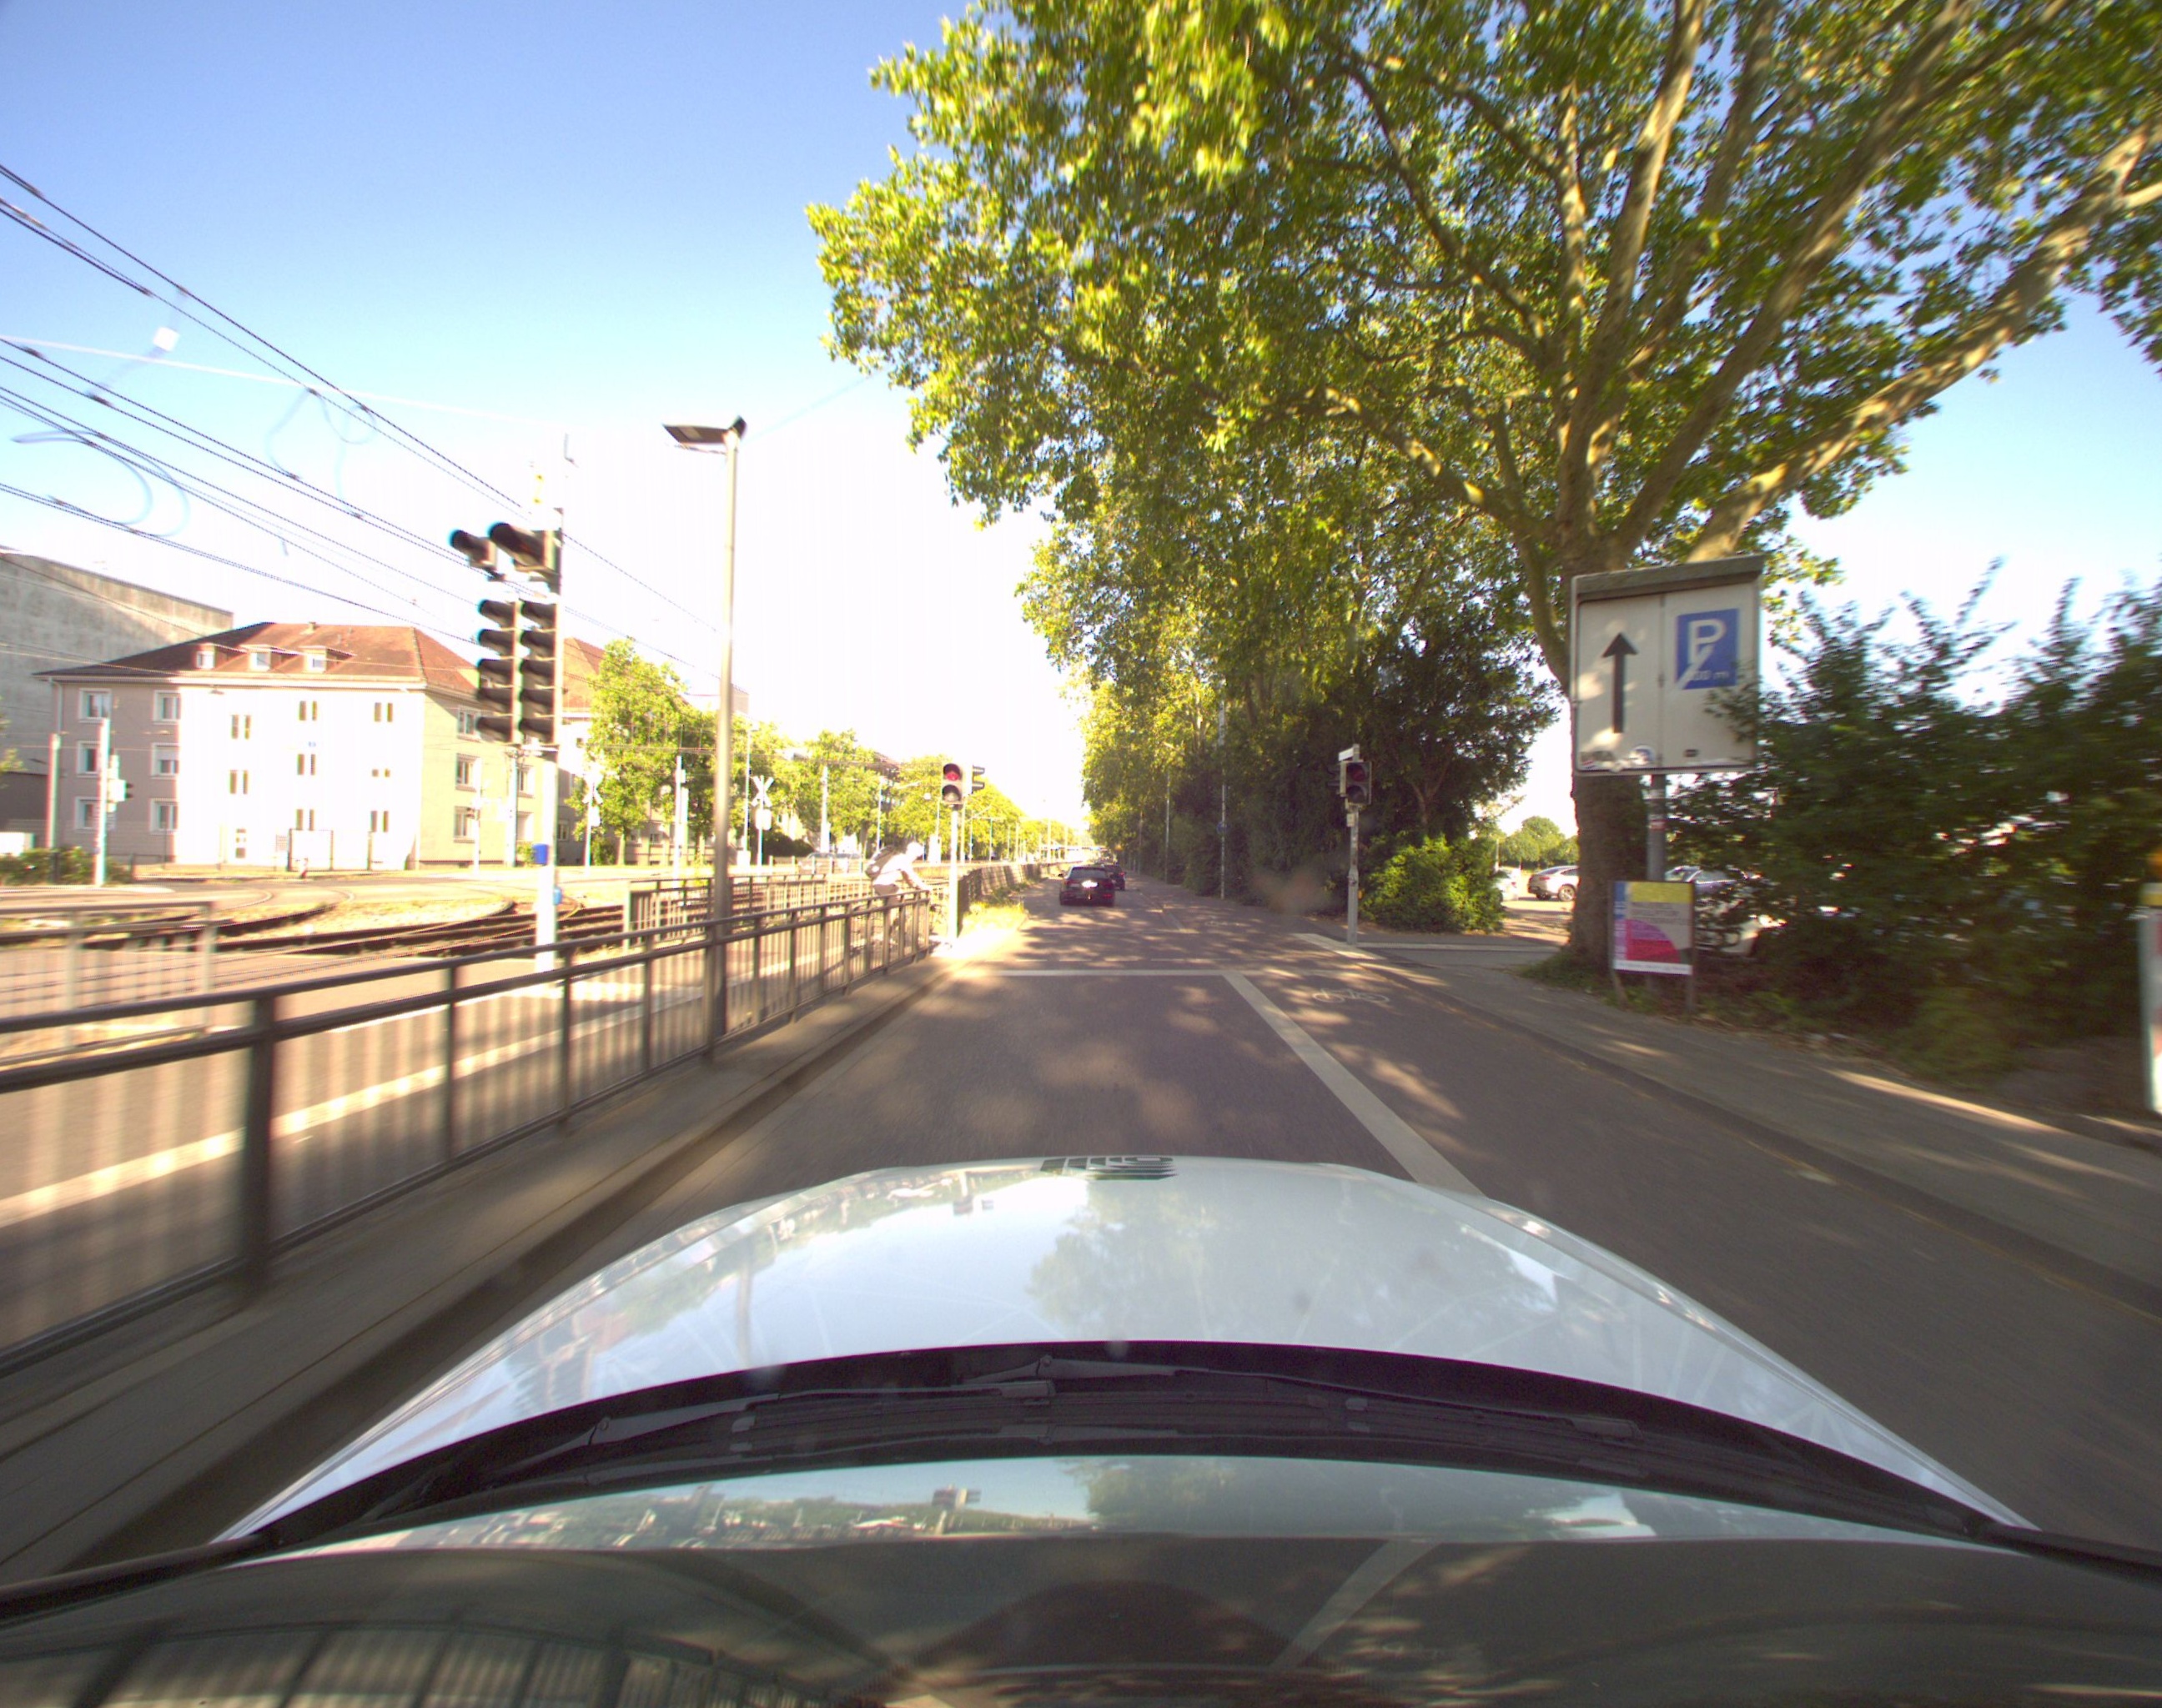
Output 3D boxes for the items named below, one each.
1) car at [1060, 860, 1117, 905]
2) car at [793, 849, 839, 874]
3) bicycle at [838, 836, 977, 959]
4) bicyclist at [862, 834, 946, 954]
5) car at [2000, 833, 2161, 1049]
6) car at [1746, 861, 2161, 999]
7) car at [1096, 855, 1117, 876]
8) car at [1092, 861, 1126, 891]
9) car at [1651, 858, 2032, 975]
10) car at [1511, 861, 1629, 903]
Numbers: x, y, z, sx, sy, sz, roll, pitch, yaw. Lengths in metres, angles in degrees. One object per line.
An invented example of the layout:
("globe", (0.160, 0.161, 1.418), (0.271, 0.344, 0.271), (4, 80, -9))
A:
("car", (0.236, 0.958, 28.703), (1.872, 1.457, 3.355), (1, 0, -1))
("car", (-18.031, 0.517, 55.584), (1.733, 1.547, 4.001), (2, -1, 1))
("bicycle", (-2.569, 0.626, 12.232), (1.984, 1.717, 0.584), (2, -1, -43))
("bicyclist", (-2.640, 0.574, 12.170), (0.914, 1.717, 0.761), (2, -1, -44))
("car", (10.865, 0.757, 6.933), (3.972, 1.764, 1.834), (1, -1, 2))
("car", (10.575, 0.849, 9.898), (3.580, 1.462, 1.679), (1, 0, 2))
("car", (2.602, 1.120, 82.804), (1.986, 2.014, 4.001), (1, 0, 2))
("car", (1.598, 1.239, 47.316), (1.757, 1.619, 3.998), (1, 0, -1))
("car", (11.075, 0.856, 12.111), (3.870, 1.505, 1.889), (1, 0, 2))
("car", (22.641, 1.277, 37.795), (4.341, 1.816, 1.998), (1, -1, -3))
